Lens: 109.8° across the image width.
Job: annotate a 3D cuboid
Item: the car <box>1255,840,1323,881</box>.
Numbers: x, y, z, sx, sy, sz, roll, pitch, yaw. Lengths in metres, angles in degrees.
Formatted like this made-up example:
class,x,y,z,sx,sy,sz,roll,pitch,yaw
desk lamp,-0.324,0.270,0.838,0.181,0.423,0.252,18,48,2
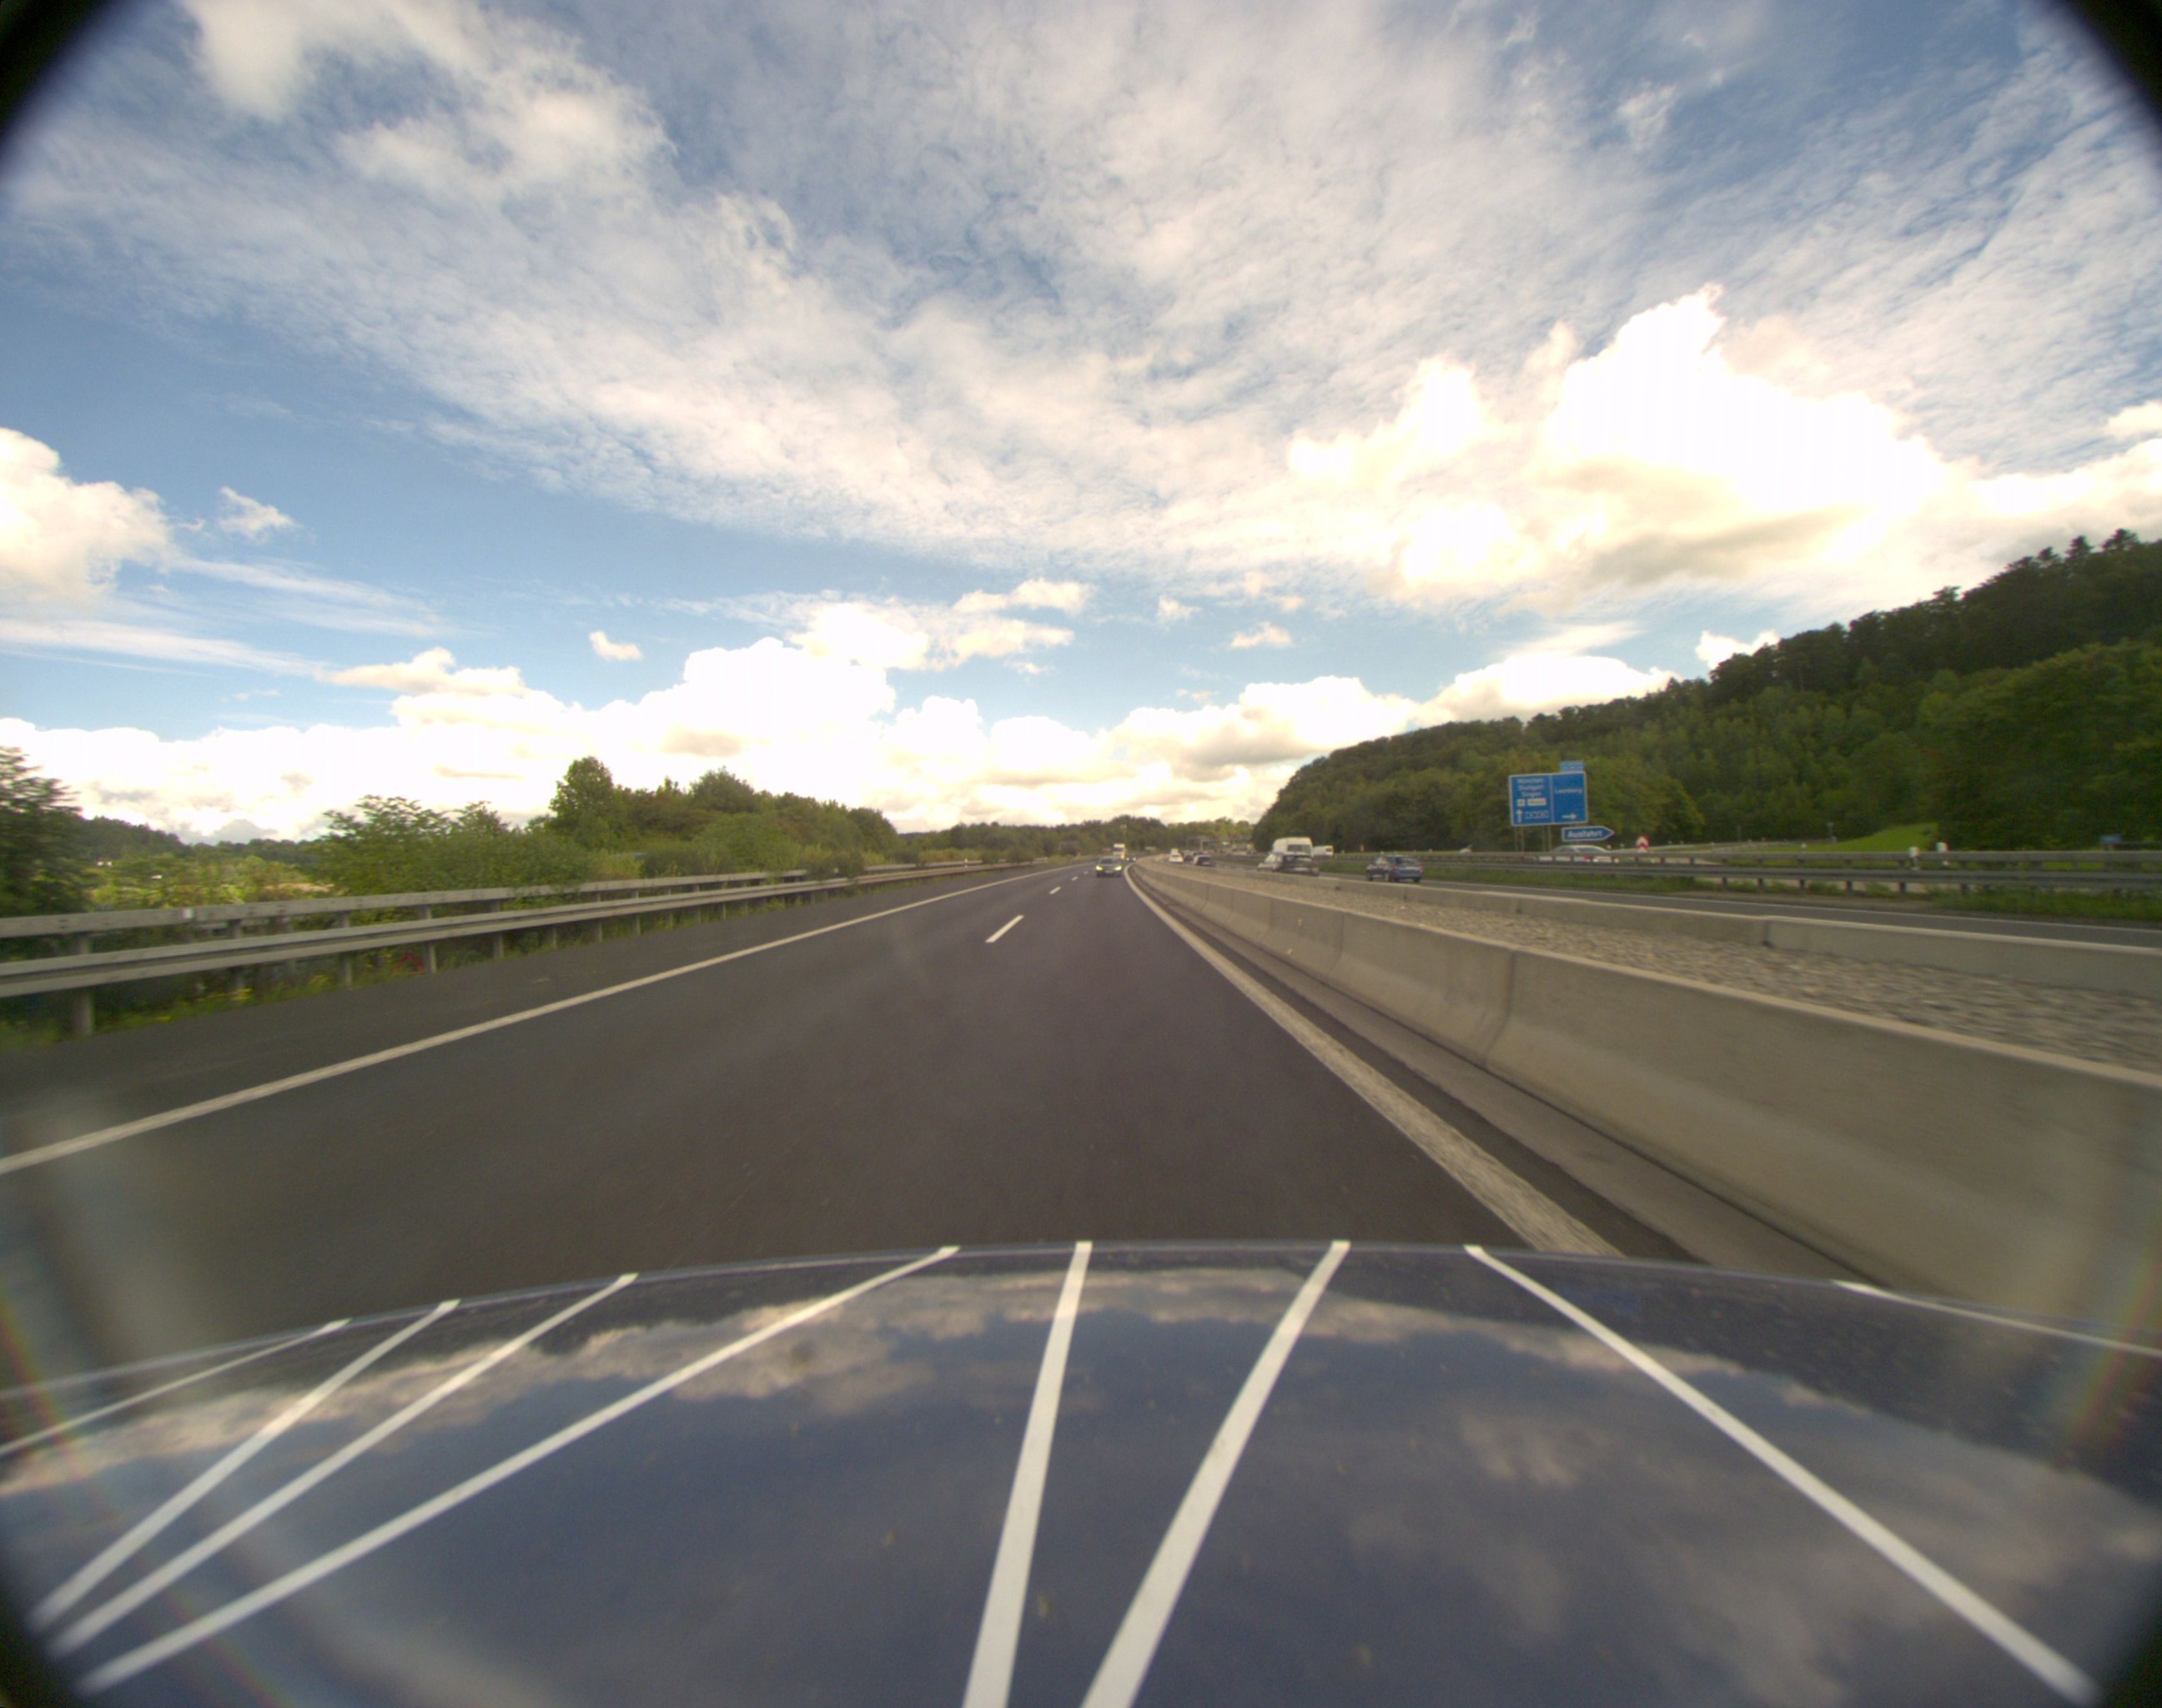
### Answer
class,x,y,z,sx,sy,sz,roll,pitch,yaw
car,9.068,0.249,33.562,1.754,1.621,4.840,-2,1,1

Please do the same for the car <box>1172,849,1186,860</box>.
class,x,y,z,sx,sy,sz,roll,pitch,yaw
car,13.873,0.005,107.659,1.755,1.444,3.937,-2,1,5

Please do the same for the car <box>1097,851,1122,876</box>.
class,x,y,z,sx,sy,sz,roll,pitch,yaw
car,2.146,0.655,57.149,1.724,1.722,3.938,-3,1,1

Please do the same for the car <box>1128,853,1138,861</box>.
class,x,y,z,sx,sy,sz,roll,pitch,yaw
car,11.181,0.558,164.105,1.753,1.621,4.843,-2,1,8

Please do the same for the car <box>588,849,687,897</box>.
class,x,y,z,sx,sy,sz,roll,pitch,yaw
car,-22.575,0.904,38.925,1.999,2.173,5.127,-3,1,-1

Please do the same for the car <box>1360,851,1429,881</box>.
class,x,y,z,sx,sy,sz,roll,pitch,yaw
car,16.288,0.563,39.737,1.754,1.413,4.208,-2,1,-1

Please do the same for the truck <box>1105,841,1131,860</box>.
class,x,y,z,sx,sy,sz,roll,pitch,yaw
truck,9.366,-0.958,188.538,4.945,4.306,14.637,-2,1,8

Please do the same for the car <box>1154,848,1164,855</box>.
class,x,y,z,sx,sy,sz,roll,pitch,yaw
car,16.300,-0.484,158.983,1.867,1.413,4.427,-2,1,7

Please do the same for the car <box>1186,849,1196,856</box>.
class,x,y,z,sx,sy,sz,roll,pitch,yaw
car,22.749,-0.305,157.715,1.898,1.444,3.938,-2,1,10

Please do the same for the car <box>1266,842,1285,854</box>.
class,x,y,z,sx,sy,sz,roll,pitch,yaw
car,30.403,-0.938,118.988,1.998,1.761,4.000,-2,1,2

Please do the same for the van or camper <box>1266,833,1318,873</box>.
class,x,y,z,sx,sy,sz,roll,pitch,yaw
van or camper,14.532,-0.097,52.671,2.105,2.521,5.422,-2,1,1

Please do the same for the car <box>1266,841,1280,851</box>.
class,x,y,z,sx,sy,sz,roll,pitch,yaw
car,43.205,-1.777,171.144,1.999,2.002,3.998,-2,1,-4

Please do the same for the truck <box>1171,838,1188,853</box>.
class,x,y,z,sx,sy,sz,roll,pitch,yaw
truck,28.584,-2.502,220.665,3.605,4.306,8.539,-1,1,15

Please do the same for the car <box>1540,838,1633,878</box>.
class,x,y,z,sx,sy,sz,roll,pitch,yaw
car,24.733,0.159,37.359,1.998,1.827,4.000,-2,1,3

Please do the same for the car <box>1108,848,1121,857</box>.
class,x,y,z,sx,sy,sz,roll,pitch,yaw
car,5.763,-0.271,130.724,1.998,1.591,4.001,-2,1,5

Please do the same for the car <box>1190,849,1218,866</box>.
class,x,y,z,sx,sy,sz,roll,pitch,yaw
car,10.942,0.309,68.015,1.868,1.413,4.425,-2,1,1

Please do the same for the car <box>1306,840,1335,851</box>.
class,x,y,z,sx,sy,sz,roll,pitch,yaw
car,46.747,-1.583,148.433,2.003,2.002,5.143,-2,1,-34
